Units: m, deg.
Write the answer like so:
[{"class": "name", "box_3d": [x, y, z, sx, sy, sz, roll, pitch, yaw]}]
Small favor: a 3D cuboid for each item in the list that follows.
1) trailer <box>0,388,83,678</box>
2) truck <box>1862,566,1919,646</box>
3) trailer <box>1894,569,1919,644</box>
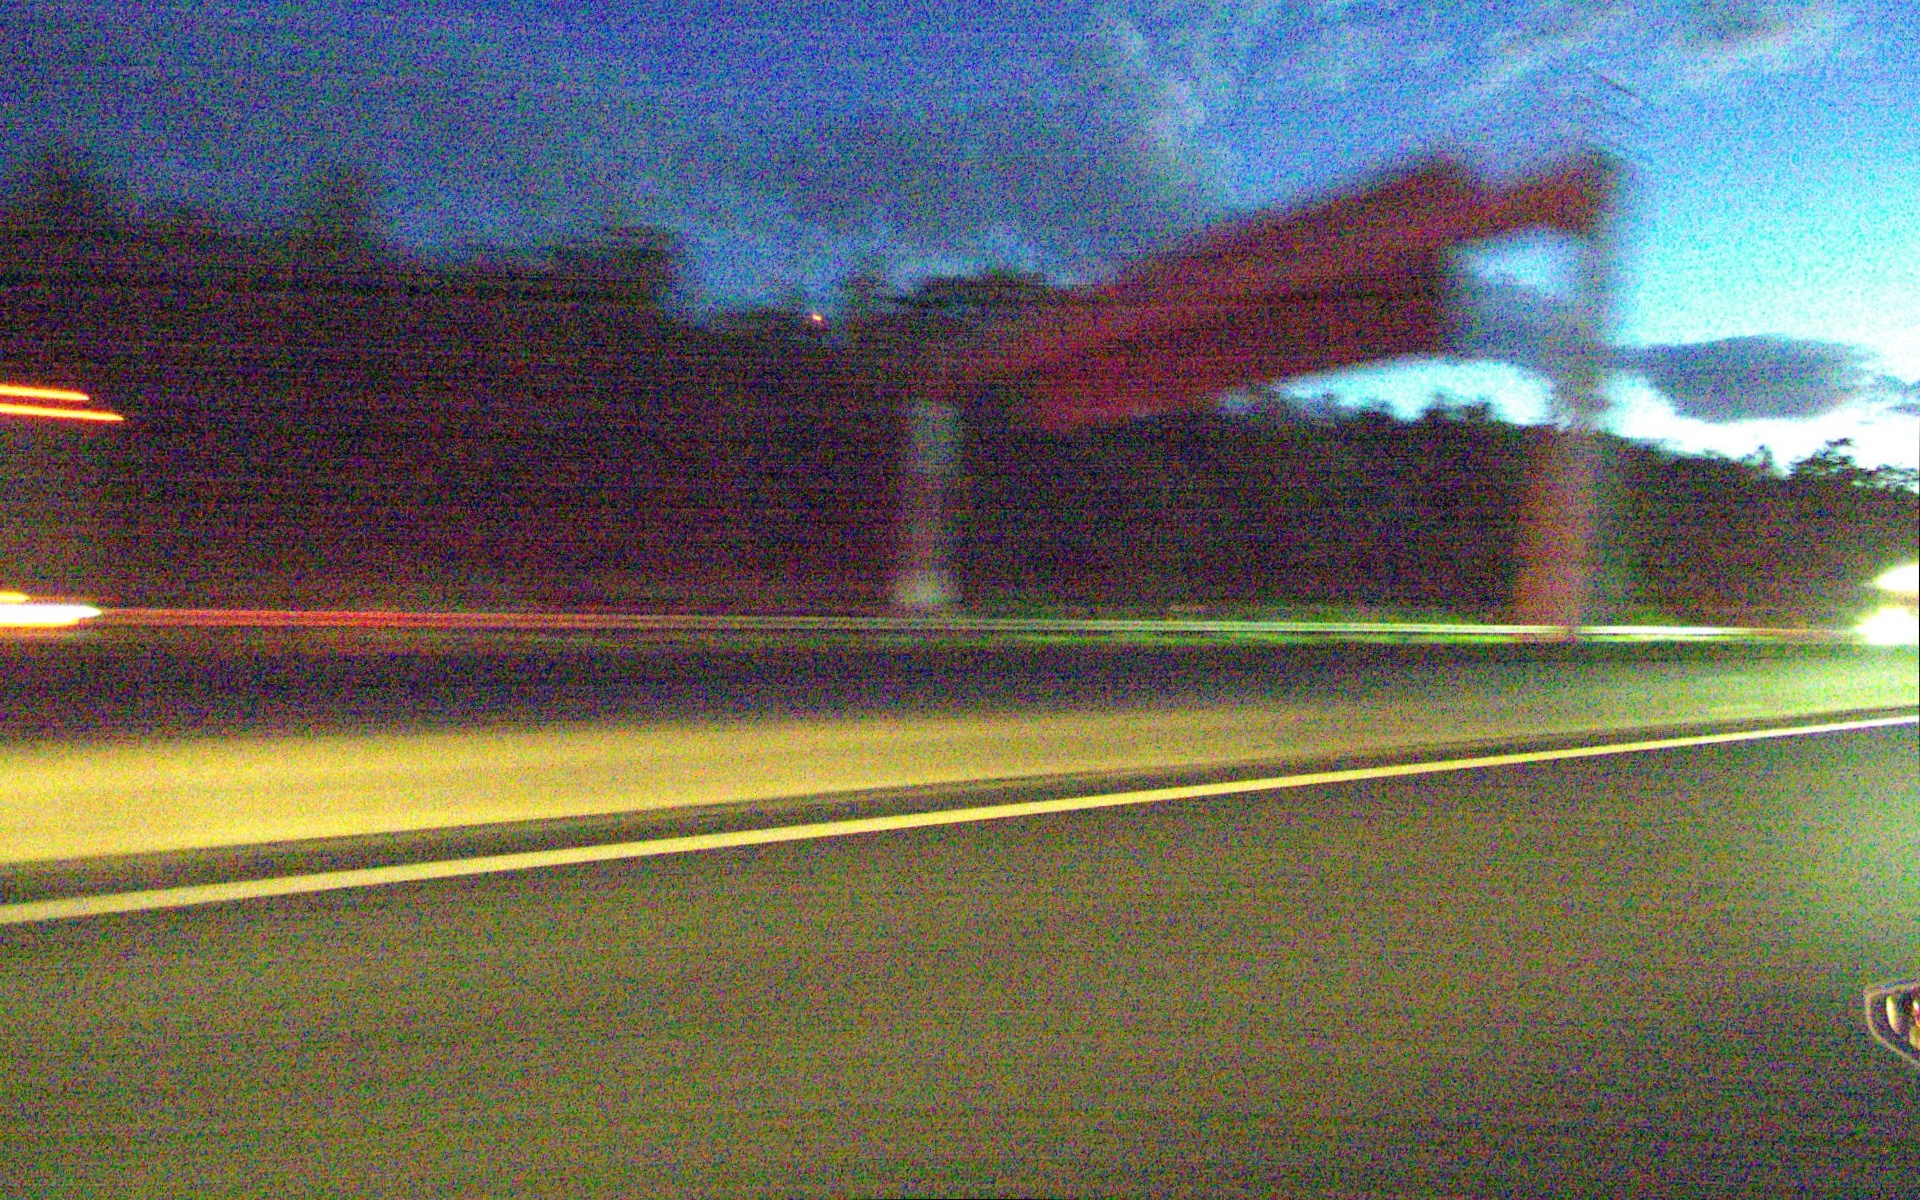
[{"class": "trailer", "box_3d": [-20.122, -1.099, 12.104, 13.881, 4.033, 3.414, 1, 0, -30]}, {"class": "truck", "box_3d": [50.757, 0.350, 52.667, 6.136, 4.033, 3.413, 1, 0, -31]}, {"class": "trailer", "box_3d": [57.705, 0.527, 56.862, 13.653, 4.033, 3.413, 1, 0, -31]}]
